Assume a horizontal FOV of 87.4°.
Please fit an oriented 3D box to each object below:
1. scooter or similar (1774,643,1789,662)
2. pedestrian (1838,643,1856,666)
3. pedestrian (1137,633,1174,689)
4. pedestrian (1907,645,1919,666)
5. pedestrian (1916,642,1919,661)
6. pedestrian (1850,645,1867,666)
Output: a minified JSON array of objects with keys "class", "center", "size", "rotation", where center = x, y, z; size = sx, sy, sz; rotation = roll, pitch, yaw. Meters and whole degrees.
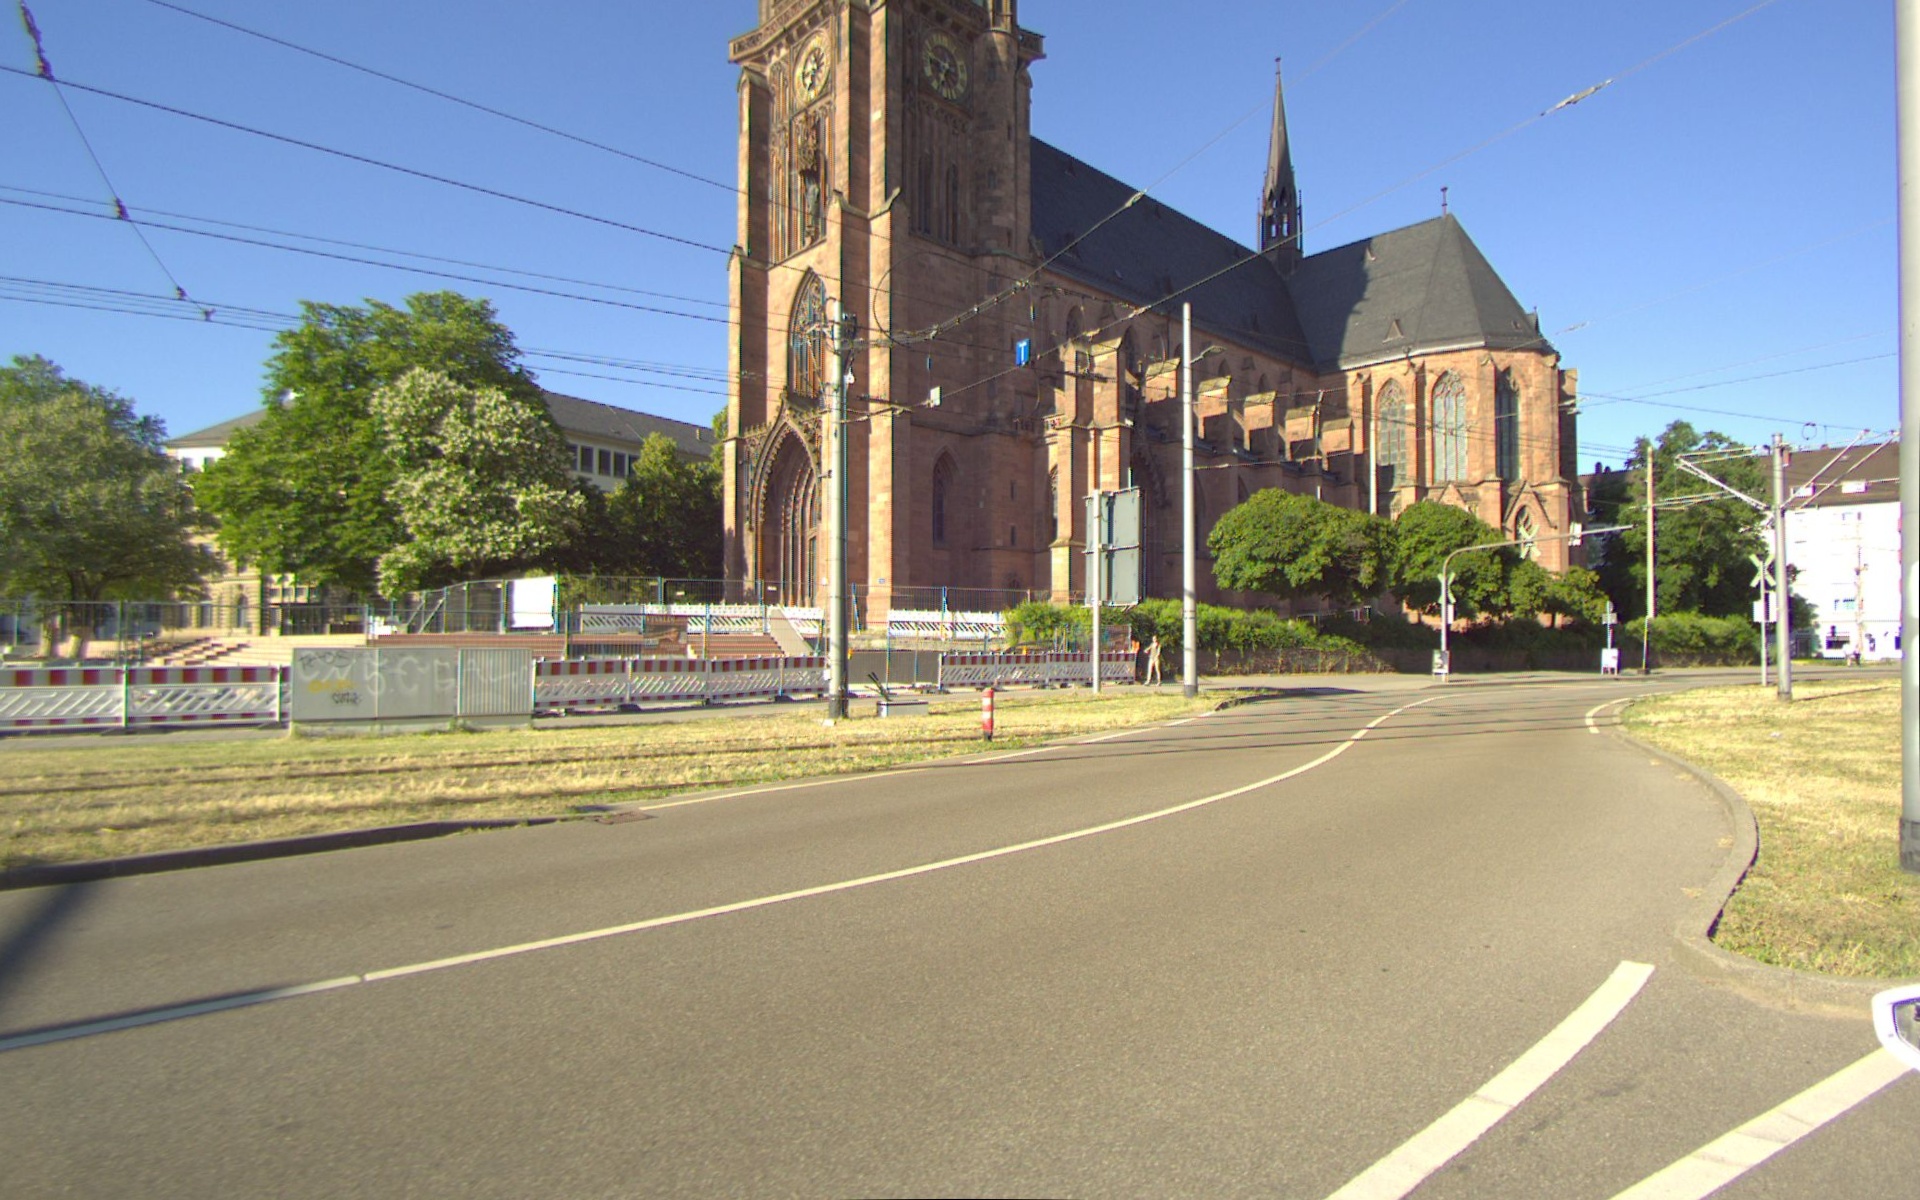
[{"class":"scooter or similar","center":[58.956,3.772,72.075],"size":[1.216,1.277,0.399],"rotation":[-2,-2,-31]},{"class":"pedestrian","center":[64.822,3.995,73.408],"size":[0.887,1.619,0.641],"rotation":[-2,-2,-31]},{"class":"pedestrian","center":[6.480,2.016,33.312],"size":[0.854,1.797,0.723],"rotation":[-2,-2,-34]},{"class":"pedestrian","center":[69.530,4.038,73.105],"size":[0.583,1.487,0.686],"rotation":[-2,-2,-27]},{"class":"pedestrian","center":[76.448,4.090,79.689],"size":[0.580,1.487,0.914],"rotation":[-4,-2,29]},{"class":"pedestrian","center":[65.158,4.023,72.839],"size":[0.905,1.487,0.586],"rotation":[-2,-2,-31]}]
